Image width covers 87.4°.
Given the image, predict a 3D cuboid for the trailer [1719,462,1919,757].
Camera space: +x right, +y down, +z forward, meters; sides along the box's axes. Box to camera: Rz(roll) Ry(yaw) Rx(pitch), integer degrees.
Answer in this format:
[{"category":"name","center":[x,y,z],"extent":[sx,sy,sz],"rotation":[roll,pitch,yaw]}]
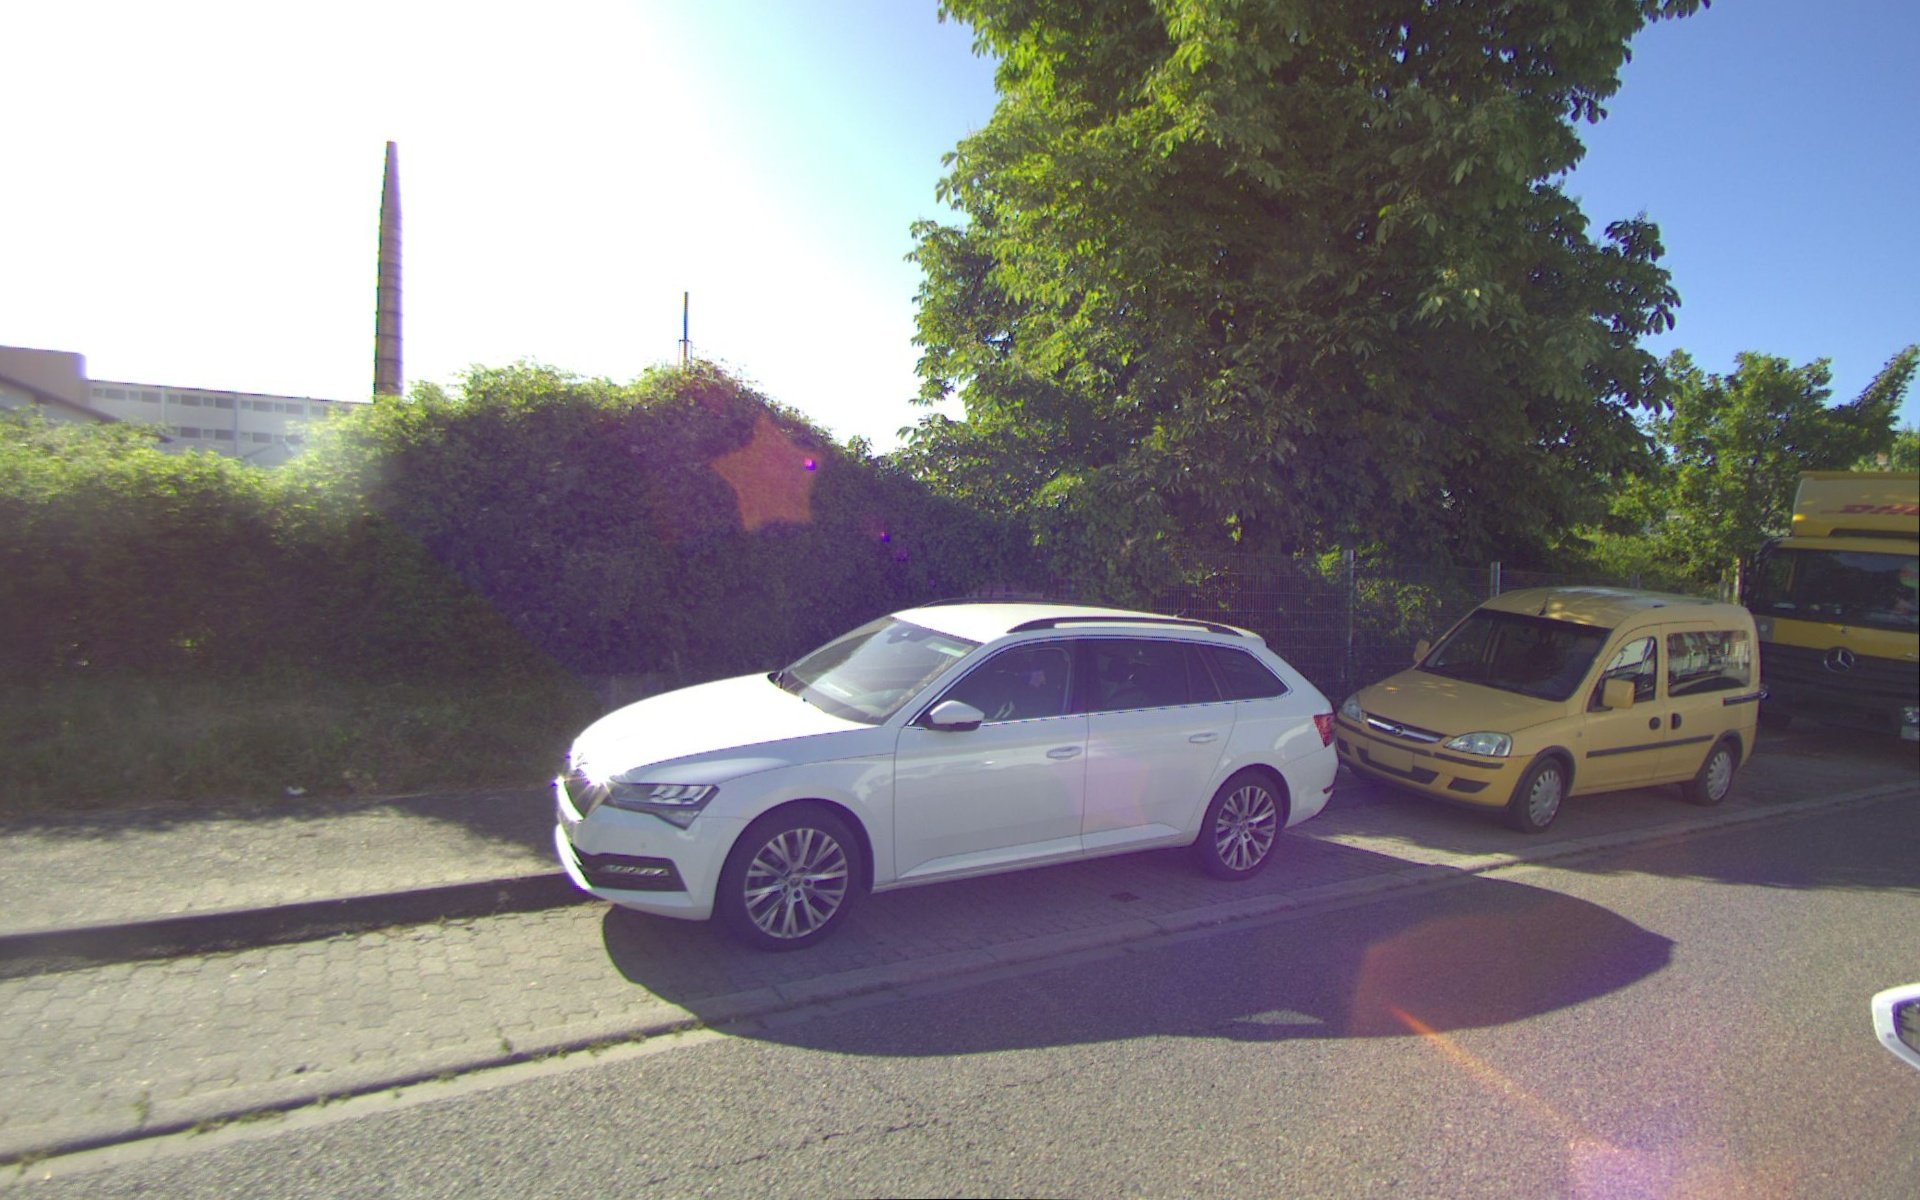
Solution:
[{"category":"trailer","center":[14.535,0.234,14.449],"extent":[8.070,3.489,2.975],"rotation":[2,0,-32]}]

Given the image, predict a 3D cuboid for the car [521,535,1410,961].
[{"category":"car","center":[0.188,0.618,6.000],"extent":[4.965,1.614,1.899],"rotation":[2,5,-30]}]

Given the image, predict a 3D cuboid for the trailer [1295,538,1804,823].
[{"category":"trailer","center":[5.278,0.621,8.892],"extent":[4.363,1.967,1.984],"rotation":[2,0,-30]}]
